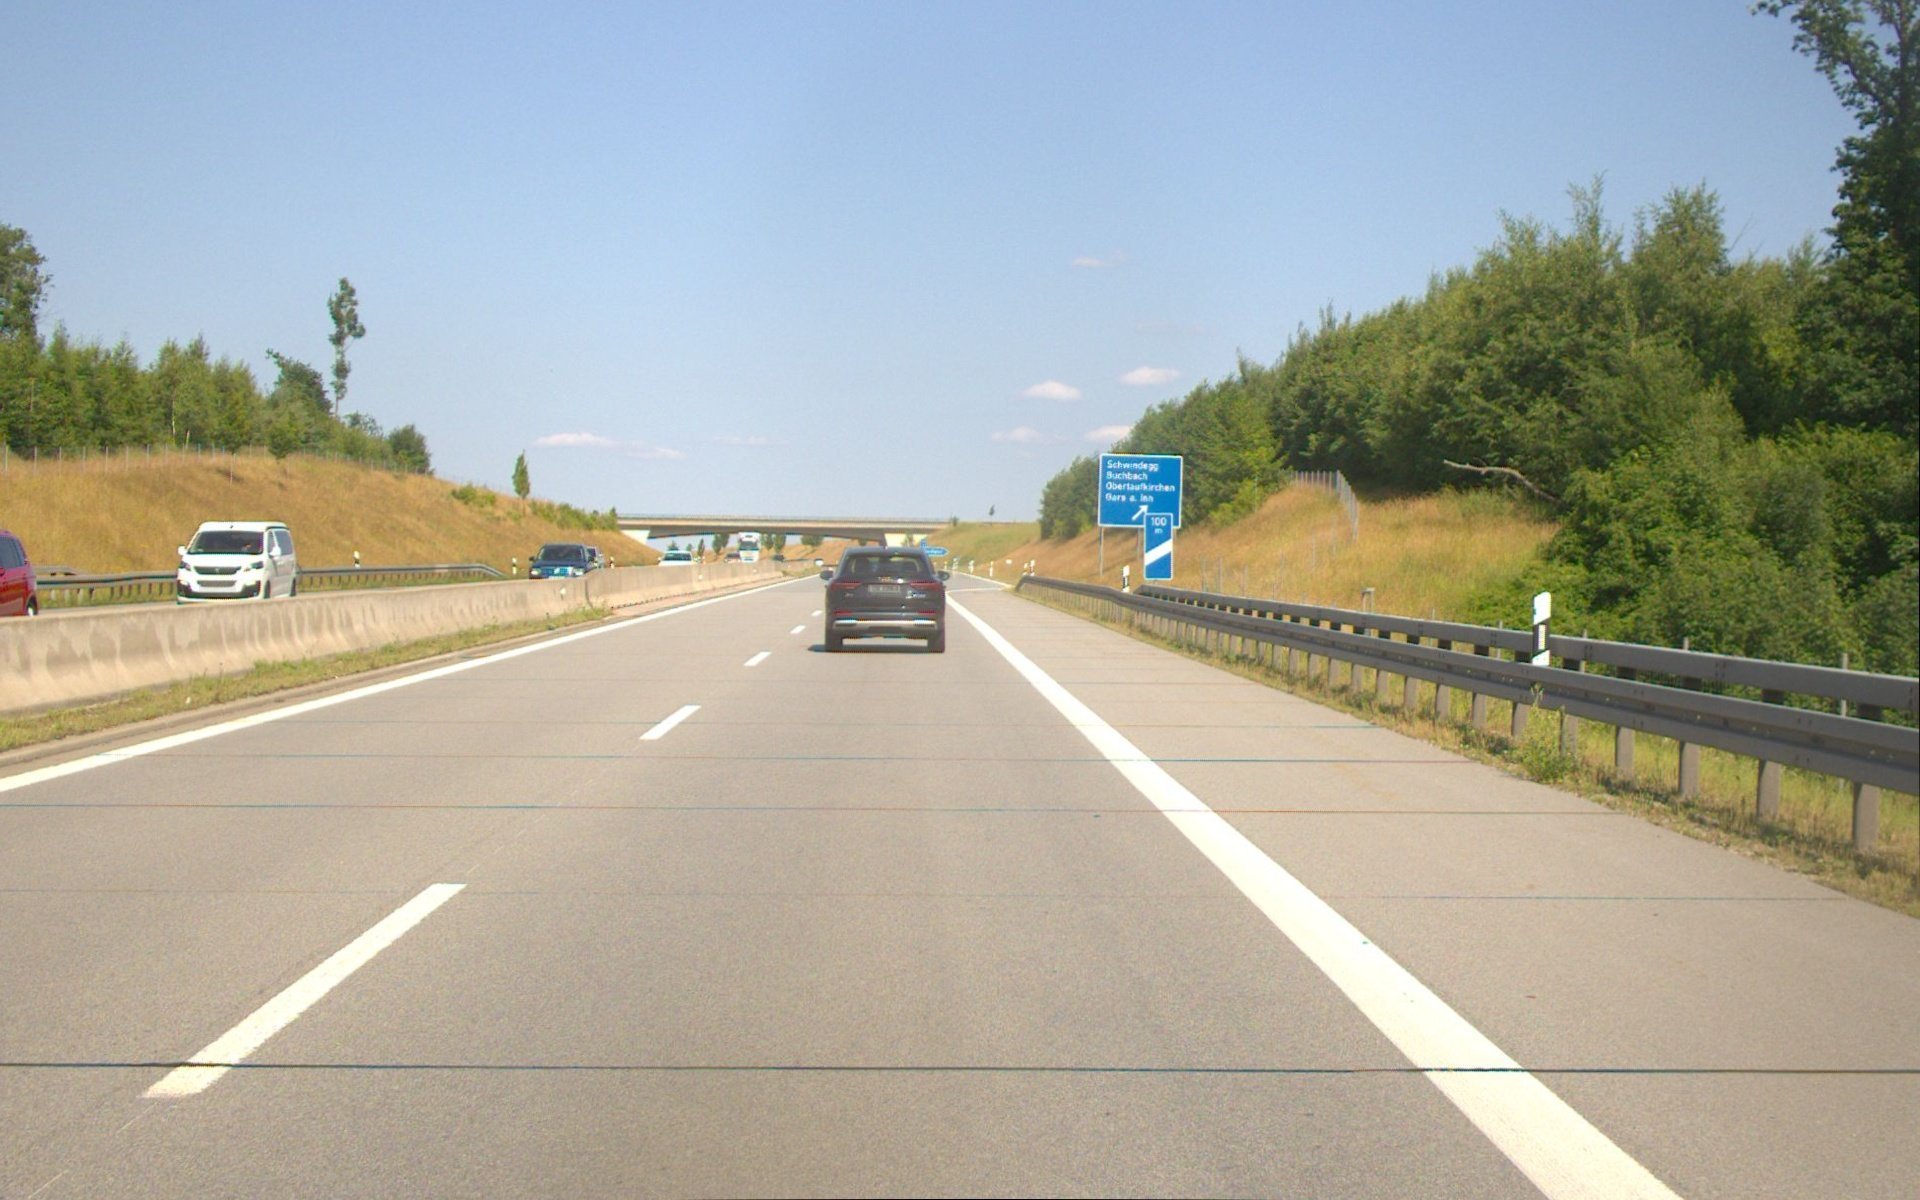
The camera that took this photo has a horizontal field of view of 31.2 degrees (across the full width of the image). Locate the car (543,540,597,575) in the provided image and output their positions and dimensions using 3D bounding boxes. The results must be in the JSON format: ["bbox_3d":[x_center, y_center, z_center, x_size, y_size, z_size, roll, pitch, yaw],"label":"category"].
[{"bbox_3d":[-18.007,-1.979,158.958,1.993,1.576,4.649,1,1,0],"label":"car"}]

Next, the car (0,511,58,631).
[{"bbox_3d":[-13.947,-0.421,47.570,1.667,1.638,4.889,1,1,0],"label":"car"}]

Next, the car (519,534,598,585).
[{"bbox_3d":[-12.816,-1.298,109.881,1.993,1.576,4.649,1,1,0],"label":"car"}]

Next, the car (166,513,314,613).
[{"bbox_3d":[-15.793,-0.838,75.722,1.993,2.076,6.228,1,1,0],"label":"car"}]

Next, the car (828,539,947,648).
[{"bbox_3d":[-1.078,-0.140,52.959,1.722,1.582,5.222,1,1,0],"label":"car"}]
